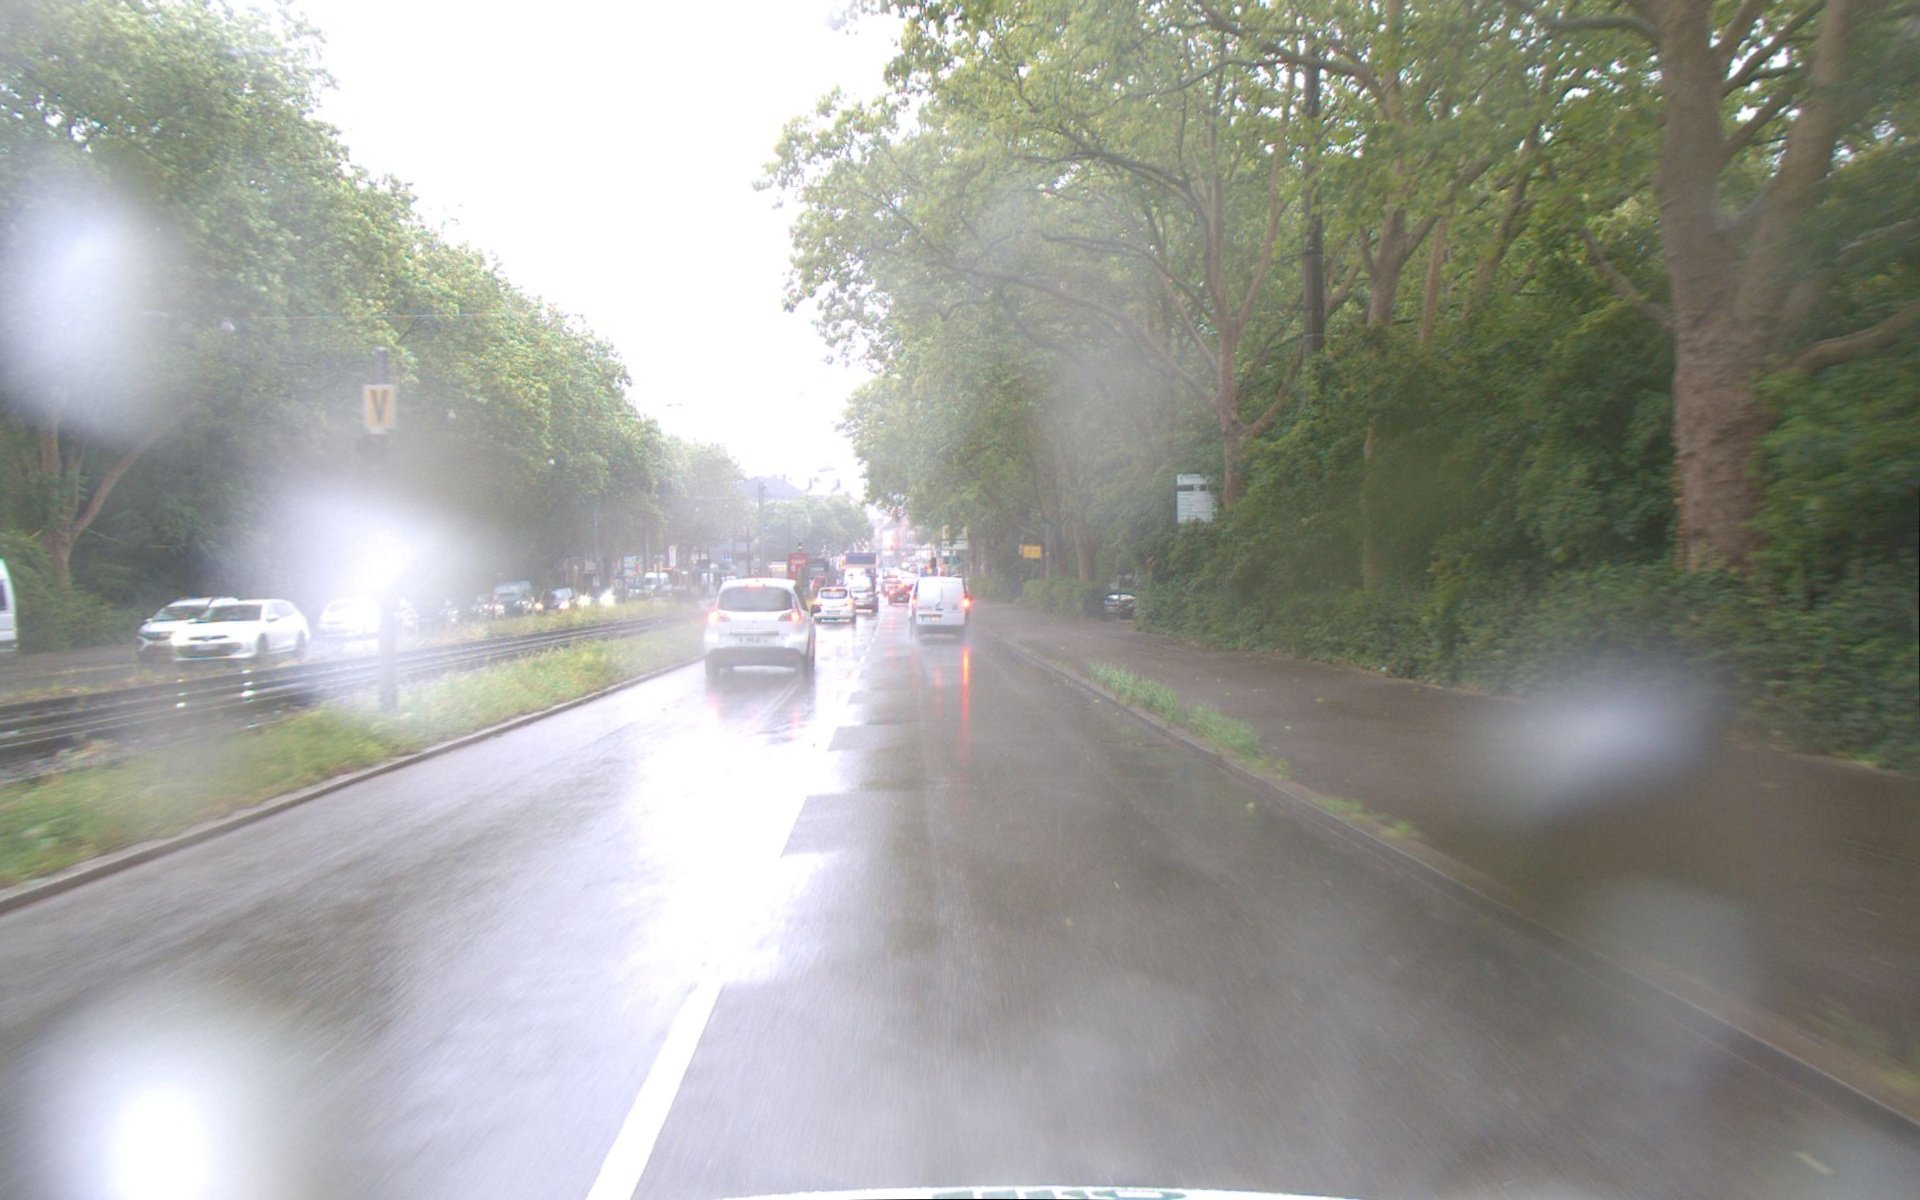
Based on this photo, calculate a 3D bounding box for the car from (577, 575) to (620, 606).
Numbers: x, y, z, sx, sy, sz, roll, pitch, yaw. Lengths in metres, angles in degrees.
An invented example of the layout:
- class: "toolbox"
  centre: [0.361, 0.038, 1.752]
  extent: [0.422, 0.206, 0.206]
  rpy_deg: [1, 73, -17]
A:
- class: "car"
  centre: [-22.741, -0.604, 104.129]
  extent: [1.992, 1.781, 4.689]
  rpy_deg: [-2, 1, -5]

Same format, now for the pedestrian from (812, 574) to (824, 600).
- class: "pedestrian"
  centre: [-9.629, -0.858, 112.344]
  extent: [0.775, 1.744, 0.770]
  rpy_deg: [2, -1, -4]

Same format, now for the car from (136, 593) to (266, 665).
- class: "car"
  centre: [-20.413, 0.741, 44.681]
  extent: [1.716, 1.758, 4.527]
  rpy_deg: [-2, 1, -5]

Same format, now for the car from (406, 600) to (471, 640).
- class: "car"
  centre: [-23.462, 0.877, 74.550]
  extent: [1.993, 1.686, 4.603]
  rpy_deg: [0, 0, -7]

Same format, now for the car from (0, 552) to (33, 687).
- class: "car"
  centre: [-19.375, 0.436, 29.543]
  extent: [2.343, 2.585, 6.559]
  rpy_deg: [-2, 1, -5]

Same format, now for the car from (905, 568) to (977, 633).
- class: "car"
  centre: [-0.590, 0.018, 48.111]
  extent: [1.920, 1.808, 3.567]
  rpy_deg: [0, 0, -3]

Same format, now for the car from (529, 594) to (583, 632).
- class: "car"
  centre: [-20.644, 0.643, 84.651]
  extent: [1.992, 1.781, 4.255]
  rpy_deg: [-2, 1, -5]

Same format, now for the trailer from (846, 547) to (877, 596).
- class: "trailer"
  centre: [-8.372, -2.419, 139.857]
  extent: [2.539, 3.967, 7.630]
  rpy_deg: [0, 1, -4]

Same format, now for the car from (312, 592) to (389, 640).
- class: "car"
  centre: [-22.691, 0.560, 61.688]
  extent: [1.727, 1.677, 3.809]
  rpy_deg: [-2, 1, -5]

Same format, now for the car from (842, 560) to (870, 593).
- class: "car"
  centre: [-7.561, -1.704, 120.776]
  extent: [1.954, 2.302, 5.285]
  rpy_deg: [0, 0, -3]

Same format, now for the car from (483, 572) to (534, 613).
- class: "car"
  centre: [-25.123, -0.412, 92.151]
  extent: [1.993, 2.129, 4.797]
  rpy_deg: [-2, 1, -7]

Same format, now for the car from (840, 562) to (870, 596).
- class: "car"
  centre: [-8.276, -1.626, 130.321]
  extent: [2.283, 2.602, 6.110]
  rpy_deg: [0, 0, -3]

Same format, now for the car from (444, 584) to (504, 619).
- class: "car"
  centre: [-23.934, 0.063, 81.583]
  extent: [1.992, 1.686, 4.605]
  rpy_deg: [0, 0, -5]

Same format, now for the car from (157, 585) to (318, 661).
- class: "car"
  centre: [-16.710, 0.483, 38.539]
  extent: [1.940, 1.594, 4.764]
  rpy_deg: [-2, 1, -5]

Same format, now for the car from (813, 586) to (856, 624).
- class: "car"
  centre: [-5.132, 0.218, 67.849]
  extent: [1.691, 1.505, 3.803]
  rpy_deg: [0, 0, -3]

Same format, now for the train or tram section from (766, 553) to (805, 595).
- class: "train or tram section"
  centre: [-14.521, -2.226, 138.120]
  extent: [2.903, 3.342, 8.355]
  rpy_deg: [-2, 2, -4]

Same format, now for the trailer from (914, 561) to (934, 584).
- class: "trailer"
  centre: [-3.923, -2.979, 178.143]
  extent: [1.954, 2.357, 4.665]
  rpy_deg: [0, 0, -4]

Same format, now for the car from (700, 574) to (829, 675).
- class: "car"
  centre: [-3.387, 0.391, 29.370]
  extent: [1.827, 1.652, 4.262]
  rpy_deg: [0, 0, -1]

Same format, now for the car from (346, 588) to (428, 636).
- class: "car"
  centre: [-23.018, 0.438, 66.620]
  extent: [1.992, 1.781, 4.689]
  rpy_deg: [-2, 1, -5]
